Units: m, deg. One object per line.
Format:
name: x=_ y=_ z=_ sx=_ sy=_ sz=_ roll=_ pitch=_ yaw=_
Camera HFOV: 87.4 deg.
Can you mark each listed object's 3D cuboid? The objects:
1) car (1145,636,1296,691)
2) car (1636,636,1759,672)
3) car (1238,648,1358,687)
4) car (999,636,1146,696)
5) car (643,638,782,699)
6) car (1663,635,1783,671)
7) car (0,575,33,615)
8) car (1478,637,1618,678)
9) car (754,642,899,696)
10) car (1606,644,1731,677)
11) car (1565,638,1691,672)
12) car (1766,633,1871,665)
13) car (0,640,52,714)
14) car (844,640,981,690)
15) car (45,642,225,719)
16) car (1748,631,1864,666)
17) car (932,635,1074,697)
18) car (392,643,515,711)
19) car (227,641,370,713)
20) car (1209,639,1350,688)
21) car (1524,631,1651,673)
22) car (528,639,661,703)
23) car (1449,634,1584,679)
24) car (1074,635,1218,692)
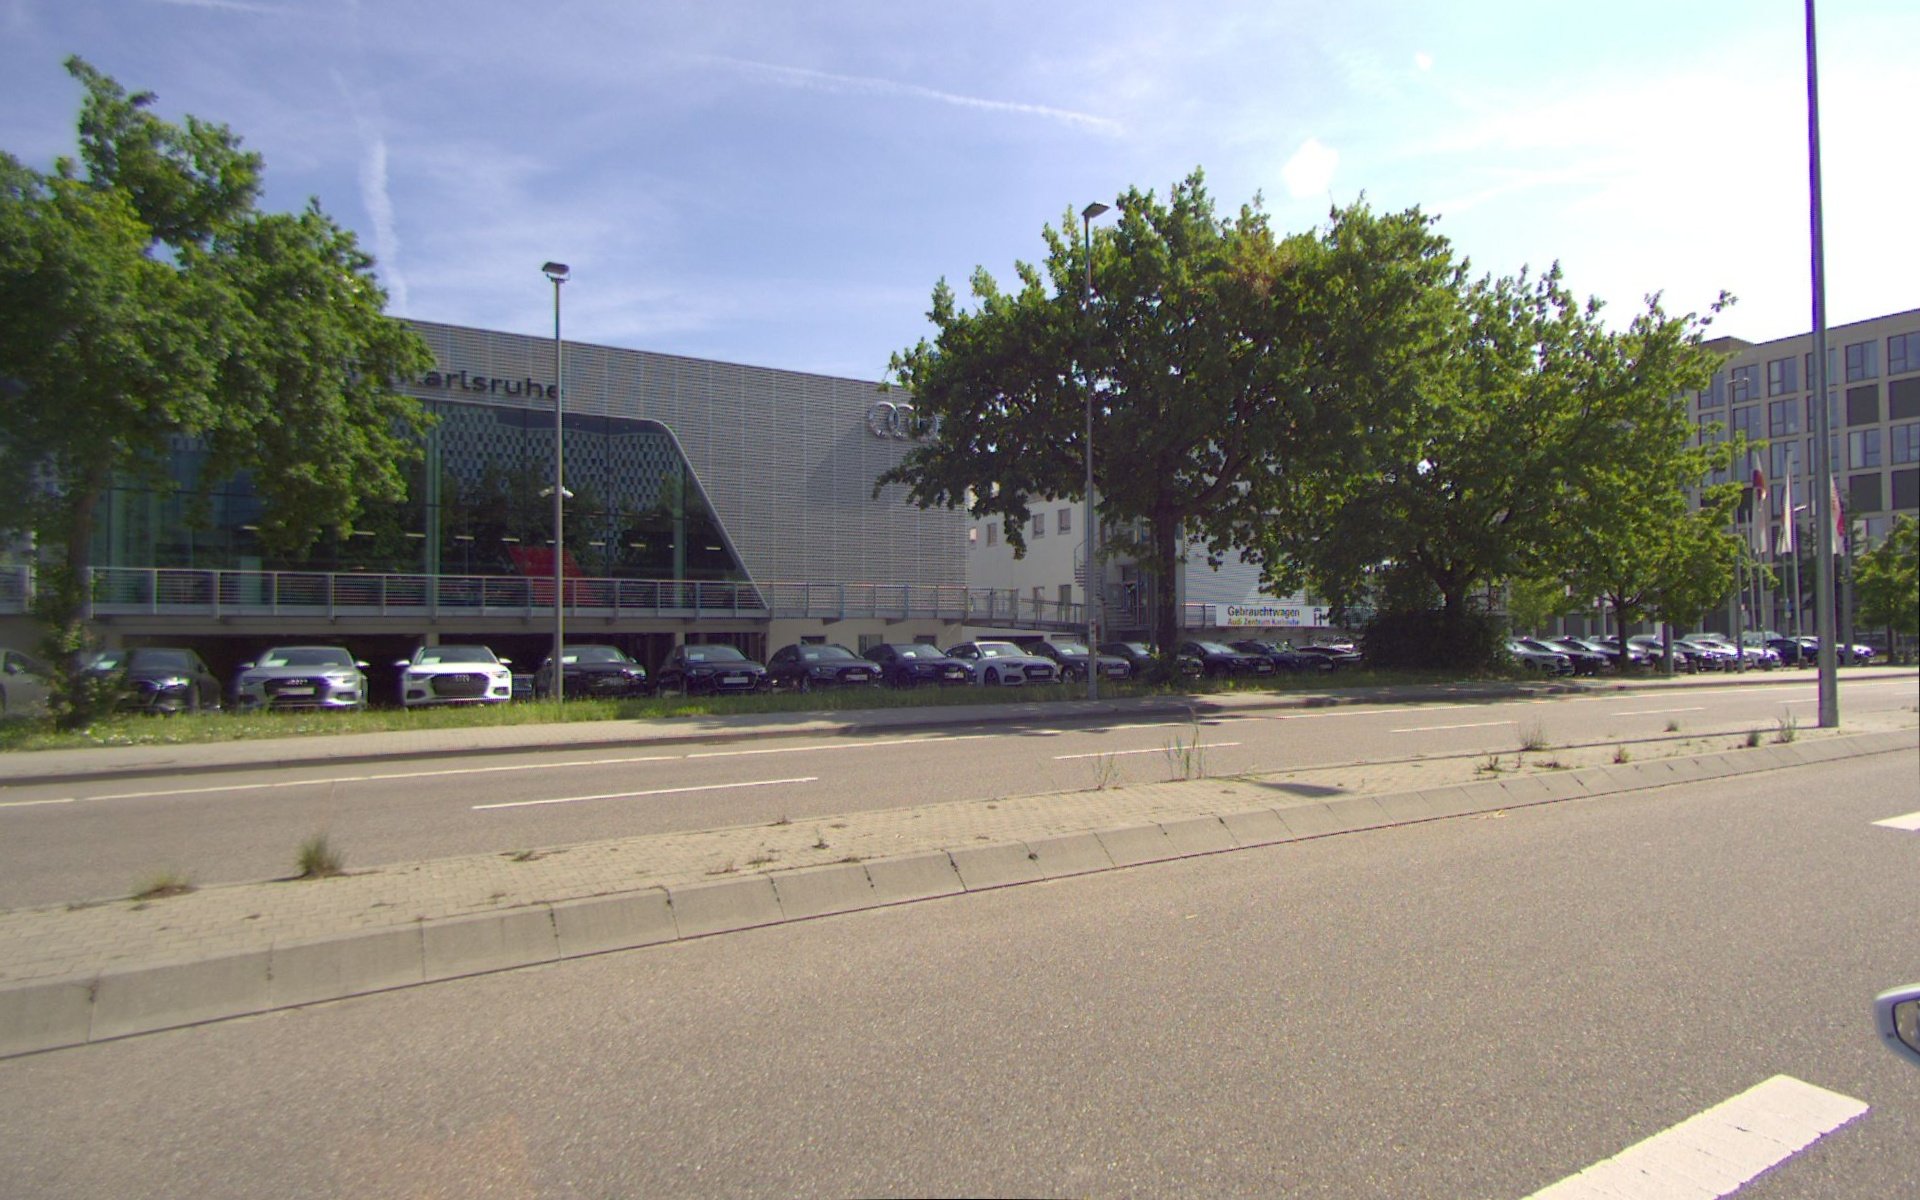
car: x=7.858 y=1.983 z=30.744 sx=2.027 sy=1.460 sz=4.288 roll=1 pitch=-6 yaw=-29
car: x=32.003 y=2.357 z=43.686 sx=1.824 sy=1.350 sz=3.864 roll=0 pitch=-5 yaw=-26
car: x=12.539 y=2.526 z=37.334 sx=3.930 sy=1.272 sz=1.588 roll=-5 pitch=-5 yaw=29
car: x=3.035 y=1.876 z=27.973 sx=1.976 sy=1.460 sz=4.233 roll=1 pitch=-6 yaw=-29
car: x=-5.727 y=1.601 z=22.876 sx=1.933 sy=1.205 sz=4.155 roll=1 pitch=-6 yaw=-31
car: x=34.151 y=2.397 z=45.076 sx=1.725 sy=1.382 sz=3.864 roll=0 pitch=-5 yaw=-26
car: x=-36.399 y=-0.197 z=35.873 sx=1.885 sy=1.483 sz=4.668 roll=0 pitch=-1 yaw=9
car: x=22.310 y=2.215 z=38.264 sx=2.010 sy=1.348 sz=4.156 roll=0 pitch=-5 yaw=-26
car: x=-3.298 y=1.687 z=24.109 sx=1.933 sy=1.091 sz=4.155 roll=1 pitch=-6 yaw=-31
car: x=29.811 y=2.570 z=42.389 sx=1.886 sy=1.181 sz=3.864 roll=0 pitch=-5 yaw=-26
car: x=27.165 y=2.278 z=40.966 sx=1.771 sy=1.167 sz=3.864 roll=0 pitch=-5 yaw=-26
car: x=42.681 y=2.466 z=50.013 sx=1.620 sy=1.375 sz=3.581 roll=0 pitch=-5 yaw=-28
car: x=-16.739 y=1.314 z=16.543 sx=1.876 sy=1.171 sz=3.969 roll=1 pitch=-6 yaw=-31
car: x=-1.275 y=1.660 z=25.162 sx=1.678 sy=1.047 sz=4.089 roll=1 pitch=-6 yaw=-31
car: x=-14.444 y=1.457 z=17.824 sx=1.876 sy=1.171 sz=3.969 roll=1 pitch=-6 yaw=-31
car: x=41.075 y=2.385 z=48.863 sx=1.844 sy=1.483 sz=3.862 roll=0 pitch=-5 yaw=-28
car: x=1.037 y=1.780 z=26.540 sx=1.976 sy=1.460 sz=3.973 roll=1 pitch=-6 yaw=-29
car: x=-10.350 y=1.596 z=20.366 sx=1.933 sy=1.205 sz=4.155 roll=1 pitch=-6 yaw=-31
car: x=-12.460 y=1.499 z=19.143 sx=2.063 sy=1.171 sz=4.155 roll=1 pitch=-6 yaw=-31
car: x=10.045 y=2.049 z=31.892 sx=1.976 sy=1.376 sz=3.973 roll=1 pitch=-6 yaw=-29
car: x=24.380 y=2.055 z=39.145 sx=1.637 sy=1.437 sz=3.864 roll=0 pitch=-5 yaw=-26
car: x=-7.949 y=1.570 z=21.625 sx=1.933 sy=1.205 sz=4.155 roll=1 pitch=-6 yaw=-31
car: x=20.242 y=2.092 z=36.705 sx=1.886 sy=1.437 sz=3.864 roll=0 pitch=-5 yaw=-26
car: x=5.361 y=1.902 z=29.513 sx=1.976 sy=1.460 sz=4.125 roll=1 pitch=-6 yaw=-29
